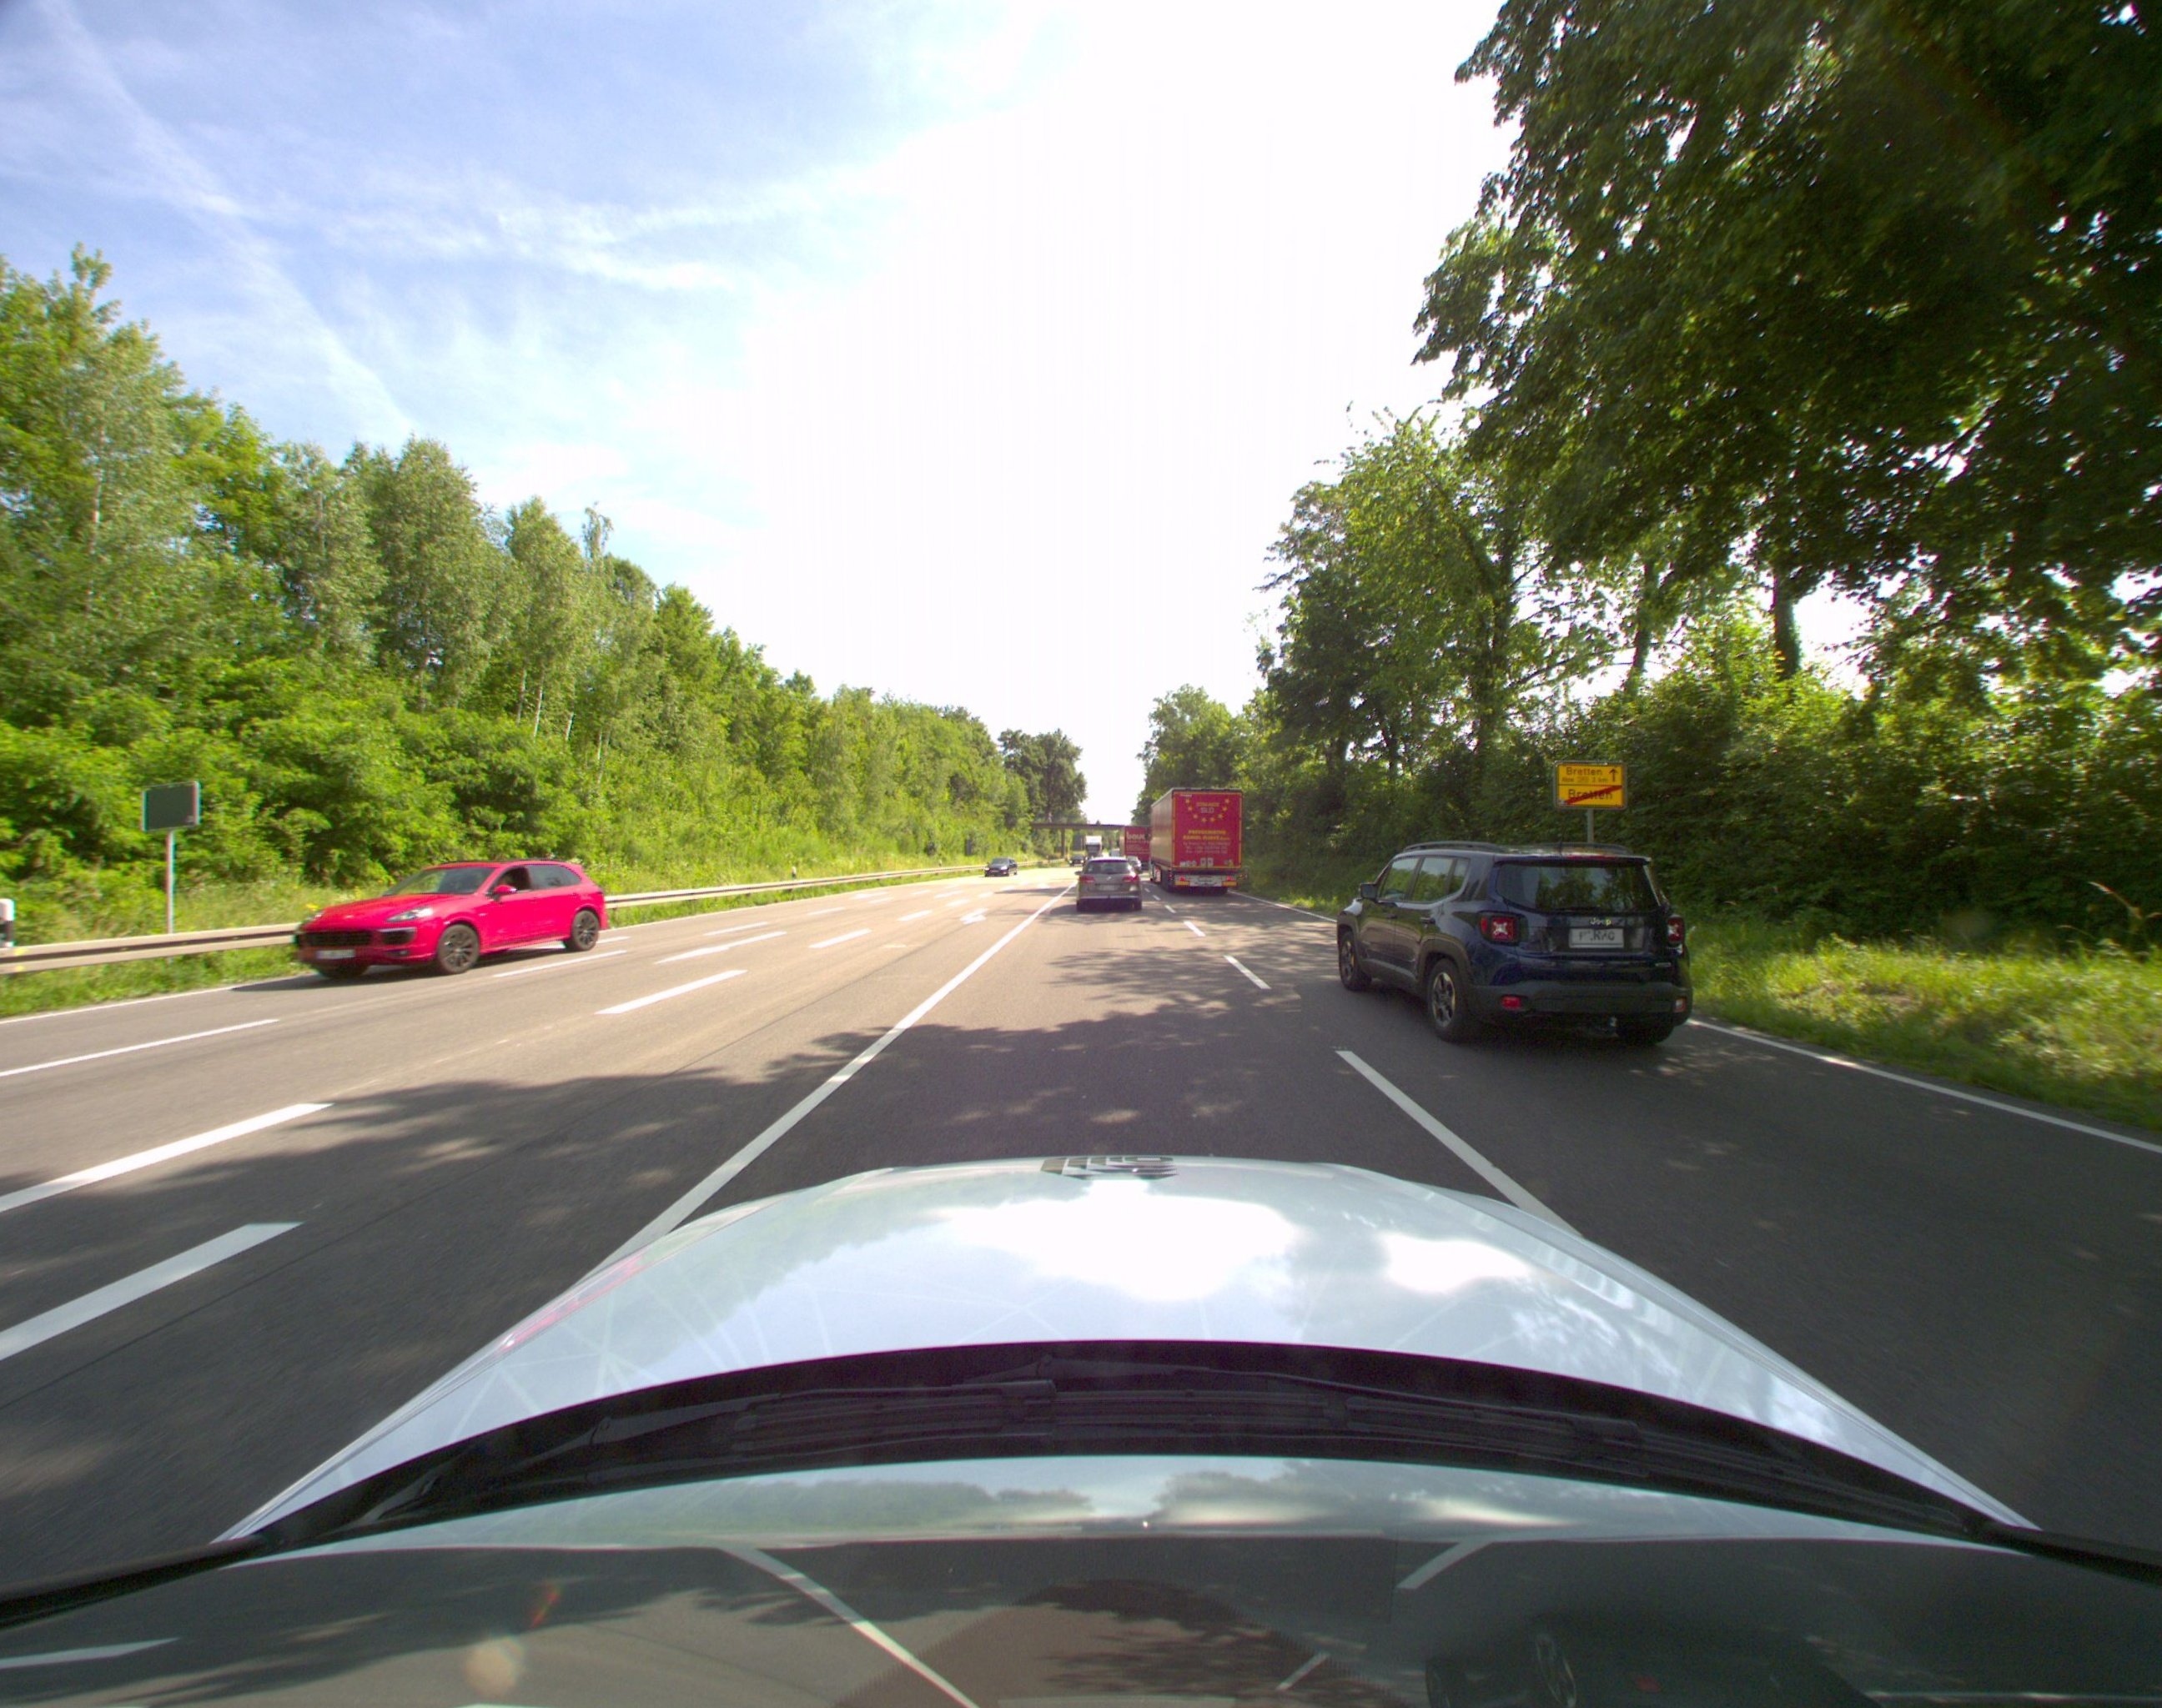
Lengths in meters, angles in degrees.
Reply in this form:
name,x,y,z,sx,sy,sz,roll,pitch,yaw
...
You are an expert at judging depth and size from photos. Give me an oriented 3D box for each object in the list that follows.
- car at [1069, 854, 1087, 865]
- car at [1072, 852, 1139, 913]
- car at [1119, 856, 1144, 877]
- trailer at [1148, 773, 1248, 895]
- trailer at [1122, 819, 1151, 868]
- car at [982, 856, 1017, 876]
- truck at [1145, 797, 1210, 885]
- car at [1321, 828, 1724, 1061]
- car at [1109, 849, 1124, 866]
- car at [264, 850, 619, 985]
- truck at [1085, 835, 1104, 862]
name,x,y,z,sx,sy,sz,roll,pitch,yaw
car,-0.385,0.659,101.814,1.787,1.345,3.773,-1,-1,6
car,0.685,0.758,22.973,1.685,1.513,4.001,-1,-1,1
car,3.951,0.971,63.827,1.764,1.513,4.001,-1,-1,1
trailer,4.767,-0.656,36.062,2.829,4.365,13.170,1,-1,1
trailer,5.293,-0.873,78.035,2.385,4.243,13.089,-1,-1,4
car,-6.094,0.879,61.113,1.954,1.415,4.004,-1,-1,4
truck,4.968,-0.604,43.015,2.860,4.281,5.840,1,-1,1
car,3.818,0.682,7.953,1.764,1.654,4.000,-1,-1,1
car,4.373,0.447,101.238,1.764,1.936,3.978,-1,-1,1
car,-10.133,0.899,13.561,1.965,1.796,4.811,-1,-1,2
truck,2.111,-0.765,125.209,2.764,3.931,9.467,-1,-1,1
